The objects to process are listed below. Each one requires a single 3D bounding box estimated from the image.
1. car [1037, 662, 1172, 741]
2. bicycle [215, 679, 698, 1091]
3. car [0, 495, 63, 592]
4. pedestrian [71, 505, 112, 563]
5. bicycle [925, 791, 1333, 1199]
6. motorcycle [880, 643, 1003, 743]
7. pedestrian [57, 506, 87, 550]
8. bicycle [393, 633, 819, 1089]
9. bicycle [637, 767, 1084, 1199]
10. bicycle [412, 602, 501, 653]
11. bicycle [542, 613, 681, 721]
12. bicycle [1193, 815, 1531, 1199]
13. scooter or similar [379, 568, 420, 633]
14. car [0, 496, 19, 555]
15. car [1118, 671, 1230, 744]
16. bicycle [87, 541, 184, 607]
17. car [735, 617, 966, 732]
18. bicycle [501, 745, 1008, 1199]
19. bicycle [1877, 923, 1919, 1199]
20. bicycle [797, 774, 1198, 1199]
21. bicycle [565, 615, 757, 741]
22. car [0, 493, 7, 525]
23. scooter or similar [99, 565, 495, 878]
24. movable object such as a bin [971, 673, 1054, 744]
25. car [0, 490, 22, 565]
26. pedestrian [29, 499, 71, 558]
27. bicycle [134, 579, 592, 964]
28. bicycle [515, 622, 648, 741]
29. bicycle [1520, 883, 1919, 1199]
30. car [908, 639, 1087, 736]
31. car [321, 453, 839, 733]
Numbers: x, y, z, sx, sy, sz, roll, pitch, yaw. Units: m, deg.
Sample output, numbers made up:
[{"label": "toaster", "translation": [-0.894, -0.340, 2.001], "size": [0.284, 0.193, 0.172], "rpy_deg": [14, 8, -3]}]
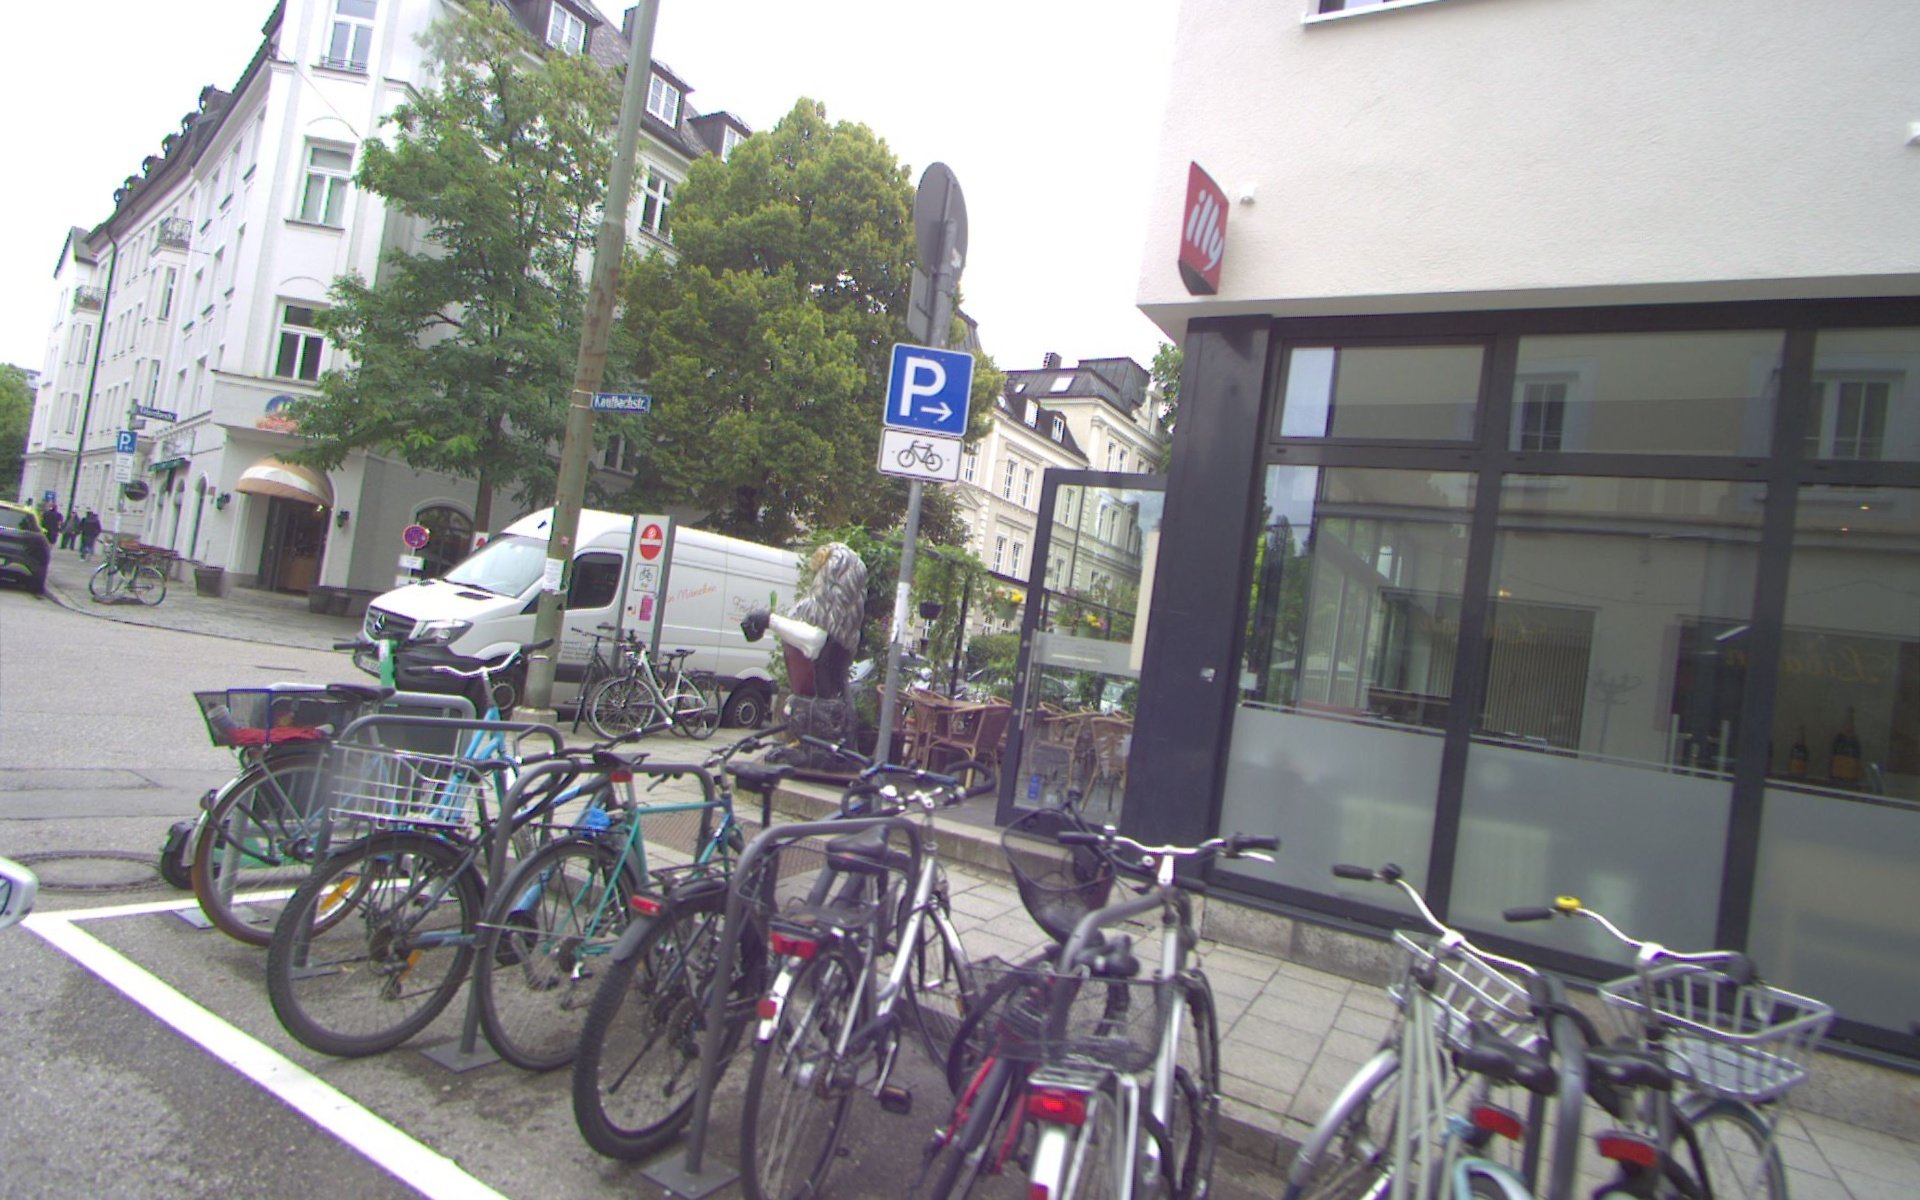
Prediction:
[{"label": "car", "translation": [3.882, 2.724, 26.444], "size": [1.835, 1.624, 3.996], "rpy_deg": [7, -3, 34]}, {"label": "bicycle", "translation": [-1.638, 0.880, 3.562], "size": [0.455, 1.081, 1.457], "rpy_deg": [8, -3, 22]}, {"label": "car", "translation": [-19.356, -1.277, 19.944], "size": [4.232, 1.652, 1.820], "rpy_deg": [6, -6, 44]}, {"label": "pedestrian", "translation": [-30.149, -2.297, 34.926], "size": [1.009, 1.871, 0.777], "rpy_deg": [7, -2, 44]}, {"label": "bicycle", "translation": [0.531, 1.107, 2.476], "size": [0.401, 1.091, 1.881], "rpy_deg": [9, -2, 26]}, {"label": "motorcycle", "translation": [-0.257, 1.529, 16.151], "size": [0.648, 1.400, 2.175], "rpy_deg": [7, -3, 35]}, {"label": "pedestrian", "translation": [-41.169, -3.326, 46.629], "size": [0.775, 1.871, 0.850], "rpy_deg": [10, -2, -39]}, {"label": "bicycle", "translation": [-1.119, 0.808, 3.553], "size": [0.388, 1.220, 1.457], "rpy_deg": [8, -3, 22]}, {"label": "bicycle", "translation": [-0.151, 1.088, 2.923], "size": [0.330, 1.091, 1.680], "rpy_deg": [9, -2, 26]}, {"label": "bicycle", "translation": [-9.806, 0.538, 19.623], "size": [1.408, 0.792, 0.538], "rpy_deg": [9, -2, -39]}, {"label": "bicycle", "translation": [-3.914, 0.786, 11.410], "size": [0.364, 1.083, 1.507], "rpy_deg": [7, -3, 29]}, {"label": "bicycle", "translation": [0.922, 1.147, 2.293], "size": [0.395, 1.091, 1.881], "rpy_deg": [9, -2, 26]}, {"label": "scooter or similar", "translation": [-12.051, -0.008, 21.662], "size": [0.423, 1.293, 1.272], "rpy_deg": [10, -1, -22]}, {"label": "car", "translation": [-33.614, -2.718, 34.270], "size": [1.991, 1.876, 4.290], "rpy_deg": [11, -4, -44]}, {"label": "car", "translation": [6.558, 3.299, 30.485], "size": [1.903, 1.761, 3.997], "rpy_deg": [7, -3, 32]}, {"label": "bicycle", "translation": [-15.454, -0.483, 18.855], "size": [1.723, 1.011, 0.540], "rpy_deg": [8, 1, 20]}, {"label": "car", "translation": [-1.780, 1.381, 17.640], "size": [1.766, 1.463, 3.997], "rpy_deg": [10, -2, 32]}, {"label": "bicycle", "translation": [-0.474, 1.053, 3.175], "size": [0.444, 1.091, 1.746], "rpy_deg": [9, -2, 26]}, {"label": "bicycle", "translation": [2.080, 1.273, 1.556], "size": [0.432, 1.107, 1.881], "rpy_deg": [9, -2, 26]}, {"label": "bicycle", "translation": [0.213, 1.096, 2.795], "size": [0.371, 1.091, 1.619], "rpy_deg": [9, -2, 26]}, {"label": "bicycle", "translation": [-3.142, 0.873, 10.774], "size": [0.582, 1.140, 1.905], "rpy_deg": [7, -3, 34]}, {"label": "car", "translation": [-30.726, -2.519, 30.779], "size": [4.128, 1.942, 1.820], "rpy_deg": [6, -6, 44]}, {"label": "scooter or similar", "translation": [-3.002, 0.564, 4.703], "size": [0.410, 1.223, 1.356], "rpy_deg": [7, -3, 31]}, {"label": "movable object such as a bin", "translation": [0.987, 2.024, 18.734], "size": [0.992, 1.123, 1.097], "rpy_deg": [7, -3, 32]}, {"label": "car", "translation": [-26.693, -2.141, 26.941], "size": [4.232, 1.889, 1.820], "rpy_deg": [6, -6, 44]}, {"label": "pedestrian", "translation": [-31.212, -2.459, 34.497], "size": [1.009, 1.871, 0.777], "rpy_deg": [7, -2, 44]}, {"label": "bicycle", "translation": [-2.384, 0.683, 4.222], "size": [0.438, 1.299, 1.461], "rpy_deg": [7, -3, 31]}, {"label": "bicycle", "translation": [-3.959, 0.880, 10.588], "size": [0.334, 1.140, 1.180], "rpy_deg": [7, -3, 36]}, {"label": "bicycle", "translation": [1.523, 1.281, 1.984], "size": [0.554, 1.063, 1.880], "rpy_deg": [6, -4, 26]}, {"label": "car", "translation": [0.930, 1.980, 22.038], "size": [1.782, 1.585, 4.248], "rpy_deg": [9, -3, 34]}, {"label": "car", "translation": [-4.457, 0.165, 13.060], "size": [2.027, 2.619, 5.905], "rpy_deg": [8, -3, 34]}]
